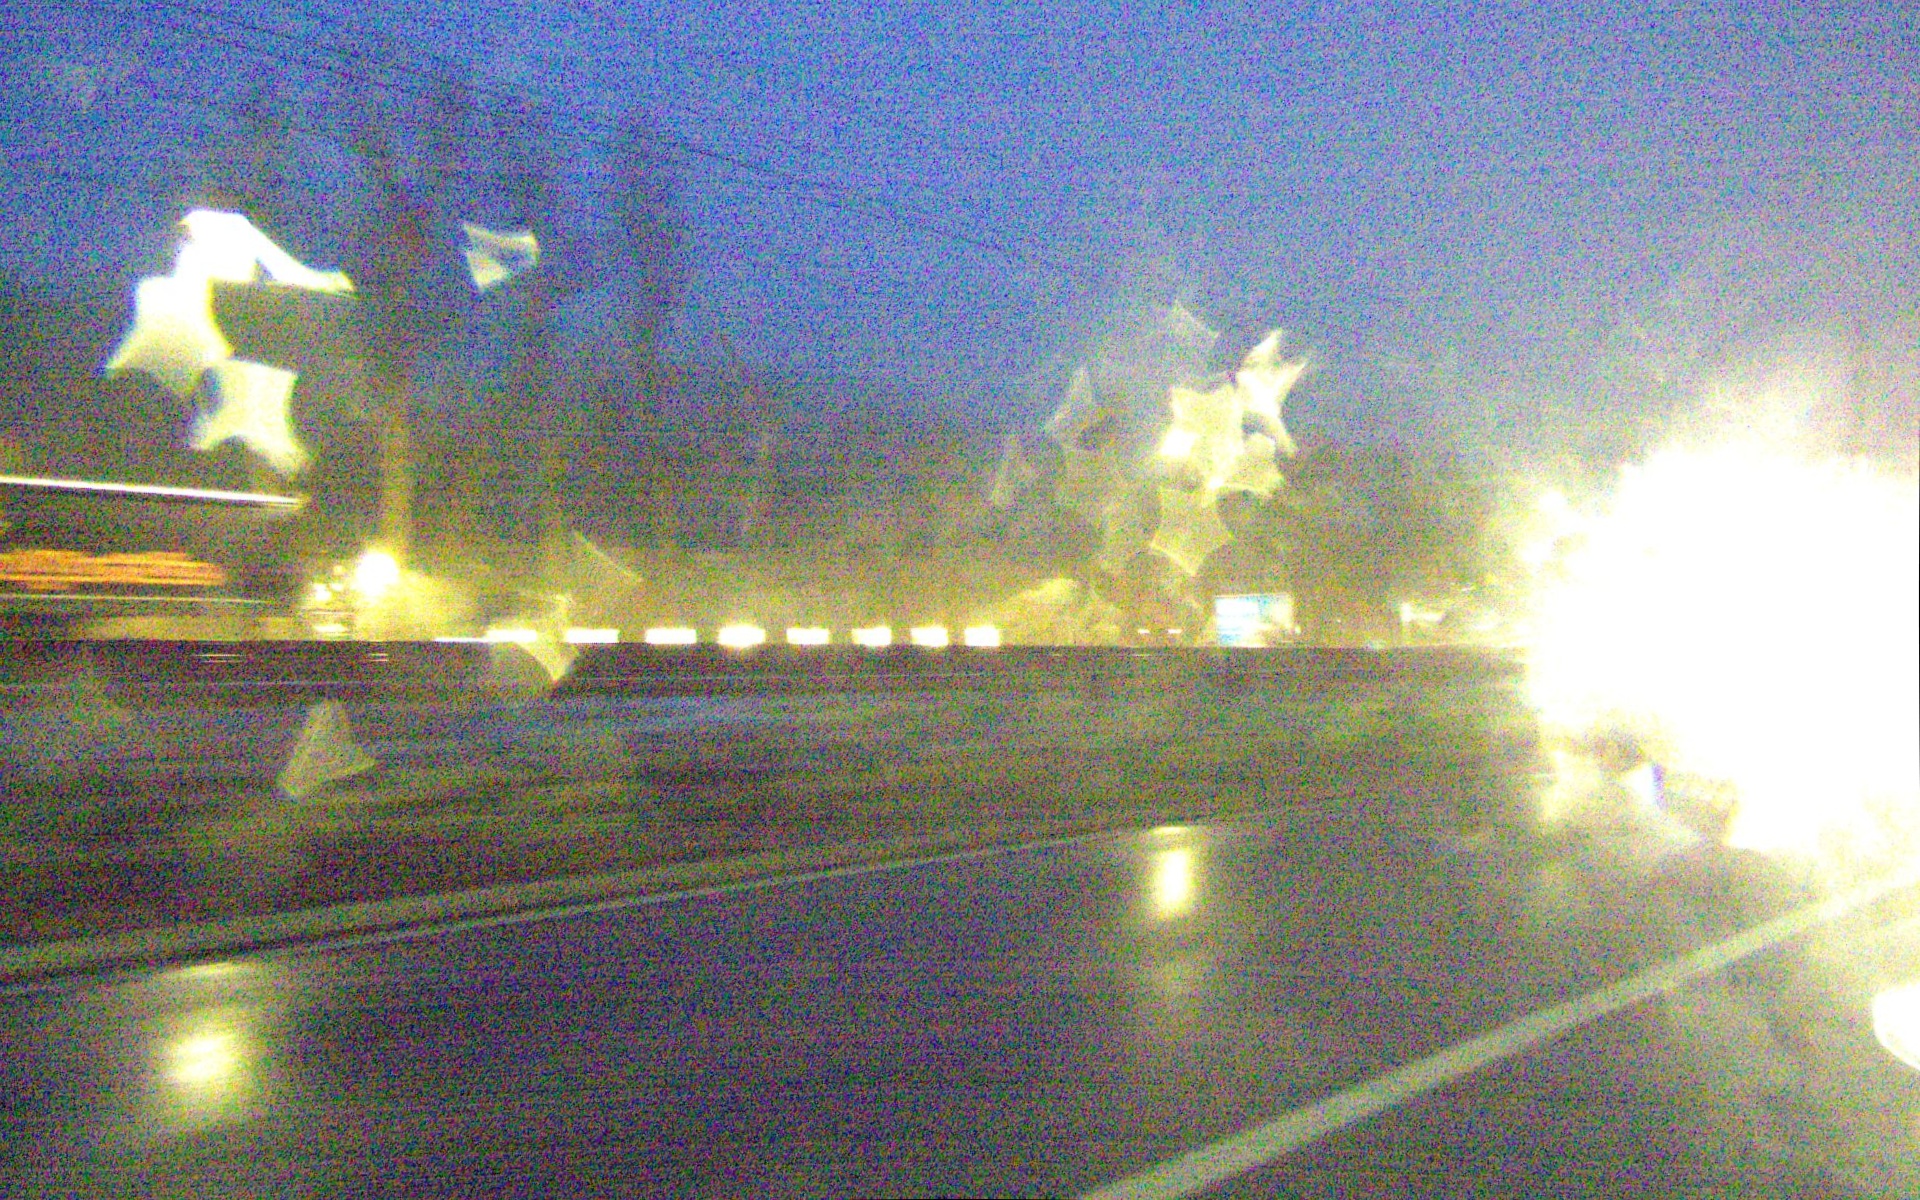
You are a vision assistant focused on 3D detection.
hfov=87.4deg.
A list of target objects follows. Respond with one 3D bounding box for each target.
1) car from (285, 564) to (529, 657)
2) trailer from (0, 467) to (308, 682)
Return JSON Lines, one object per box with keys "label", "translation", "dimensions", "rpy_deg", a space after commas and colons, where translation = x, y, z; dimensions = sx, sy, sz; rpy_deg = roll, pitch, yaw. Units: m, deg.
{"label": "car", "translation": [-11.192, 0.202, 20.445], "dimensions": [4.177, 1.716, 1.774], "rpy_deg": [1, 1, -36]}
{"label": "trailer", "translation": [-23.169, -0.712, 22.569], "dimensions": [14.105, 4.671, 3.945], "rpy_deg": [3, 2, -35]}
